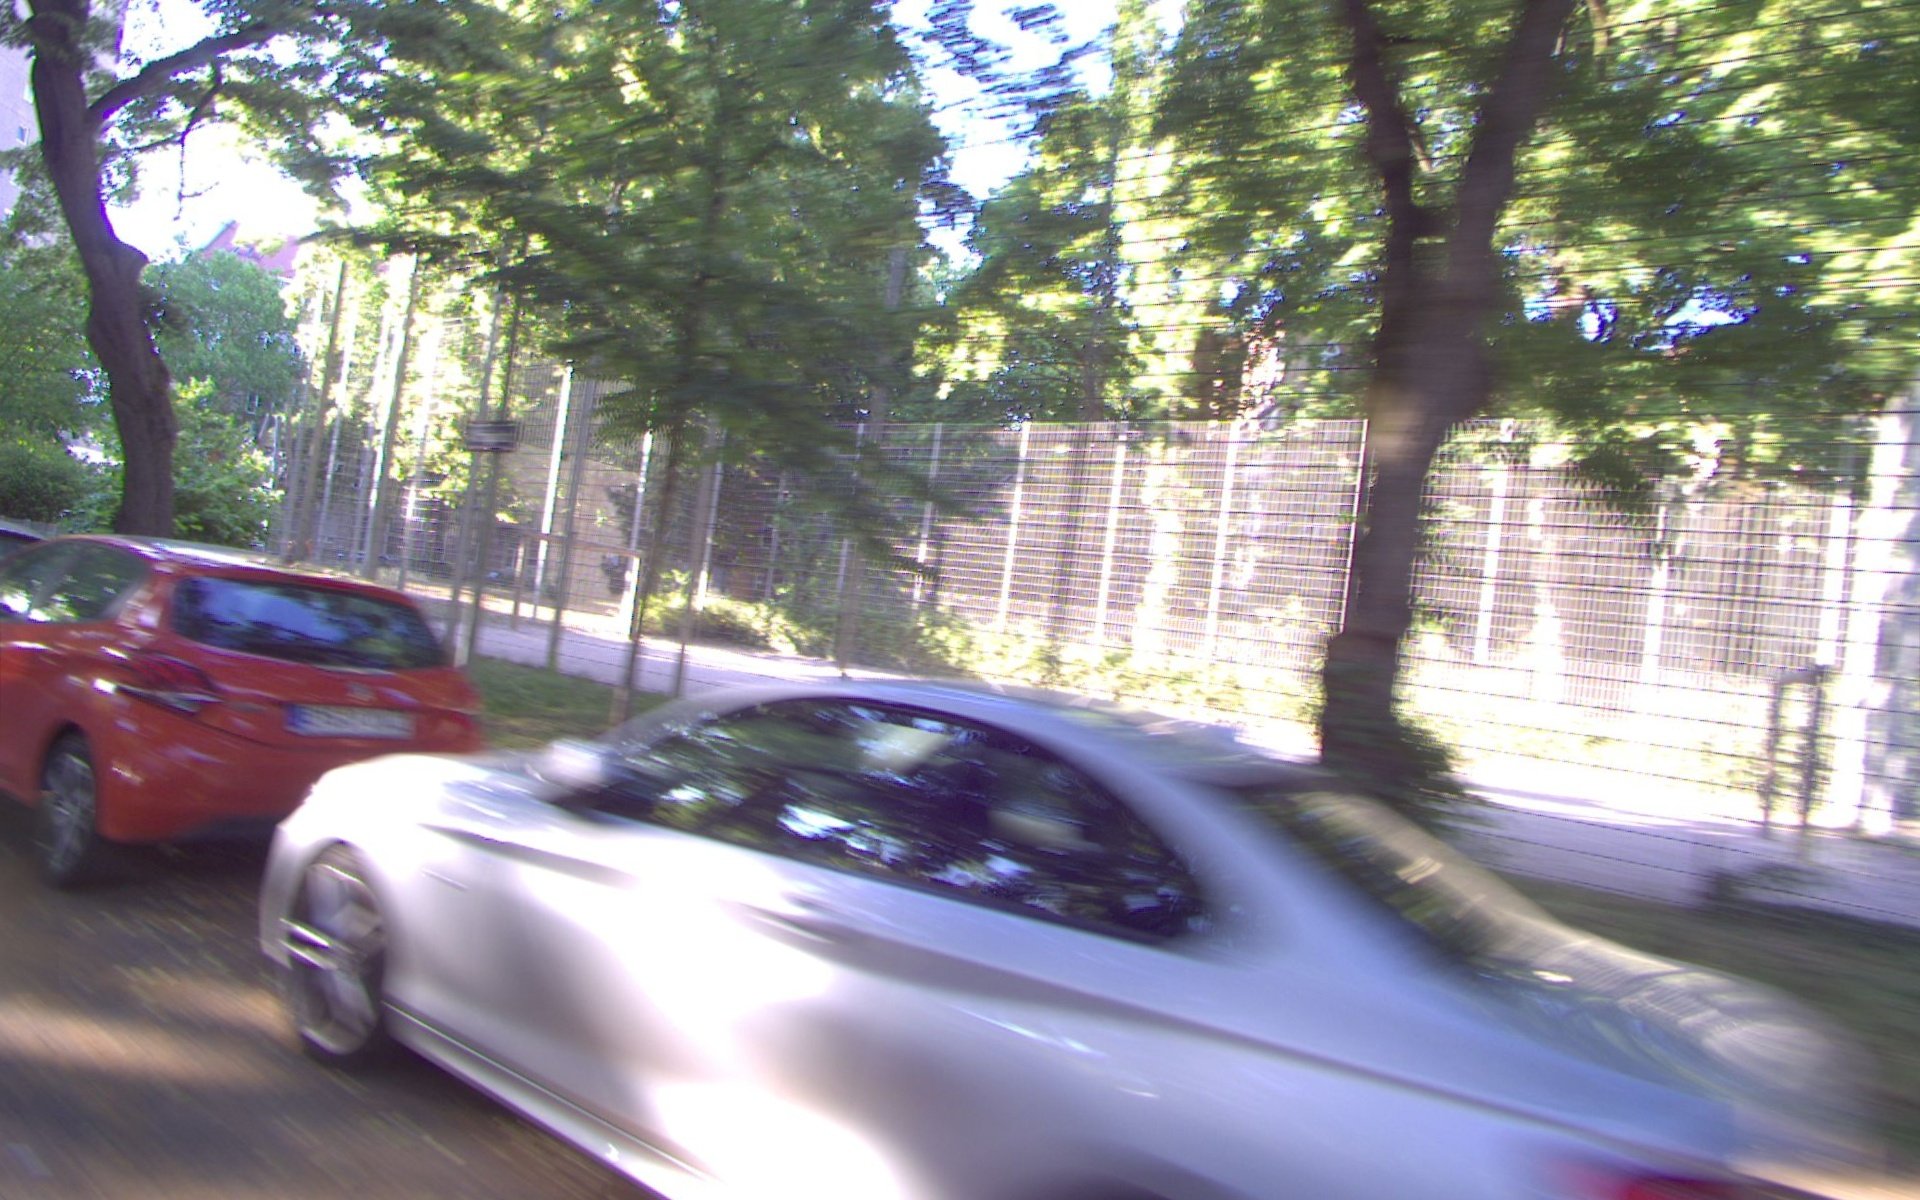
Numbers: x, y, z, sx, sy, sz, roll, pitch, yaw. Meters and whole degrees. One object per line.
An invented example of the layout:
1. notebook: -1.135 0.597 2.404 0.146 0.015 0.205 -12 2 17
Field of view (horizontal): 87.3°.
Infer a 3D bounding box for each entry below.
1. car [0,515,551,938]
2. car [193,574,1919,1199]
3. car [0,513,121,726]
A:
1. car: -4.231 0.414 5.416 3.884 1.470 1.676 6 -2 32
2. car: -0.302 0.894 2.958 4.229 1.413 1.675 6 -2 33
3. car: -8.418 -0.063 7.815 3.884 1.470 1.676 6 -2 32
